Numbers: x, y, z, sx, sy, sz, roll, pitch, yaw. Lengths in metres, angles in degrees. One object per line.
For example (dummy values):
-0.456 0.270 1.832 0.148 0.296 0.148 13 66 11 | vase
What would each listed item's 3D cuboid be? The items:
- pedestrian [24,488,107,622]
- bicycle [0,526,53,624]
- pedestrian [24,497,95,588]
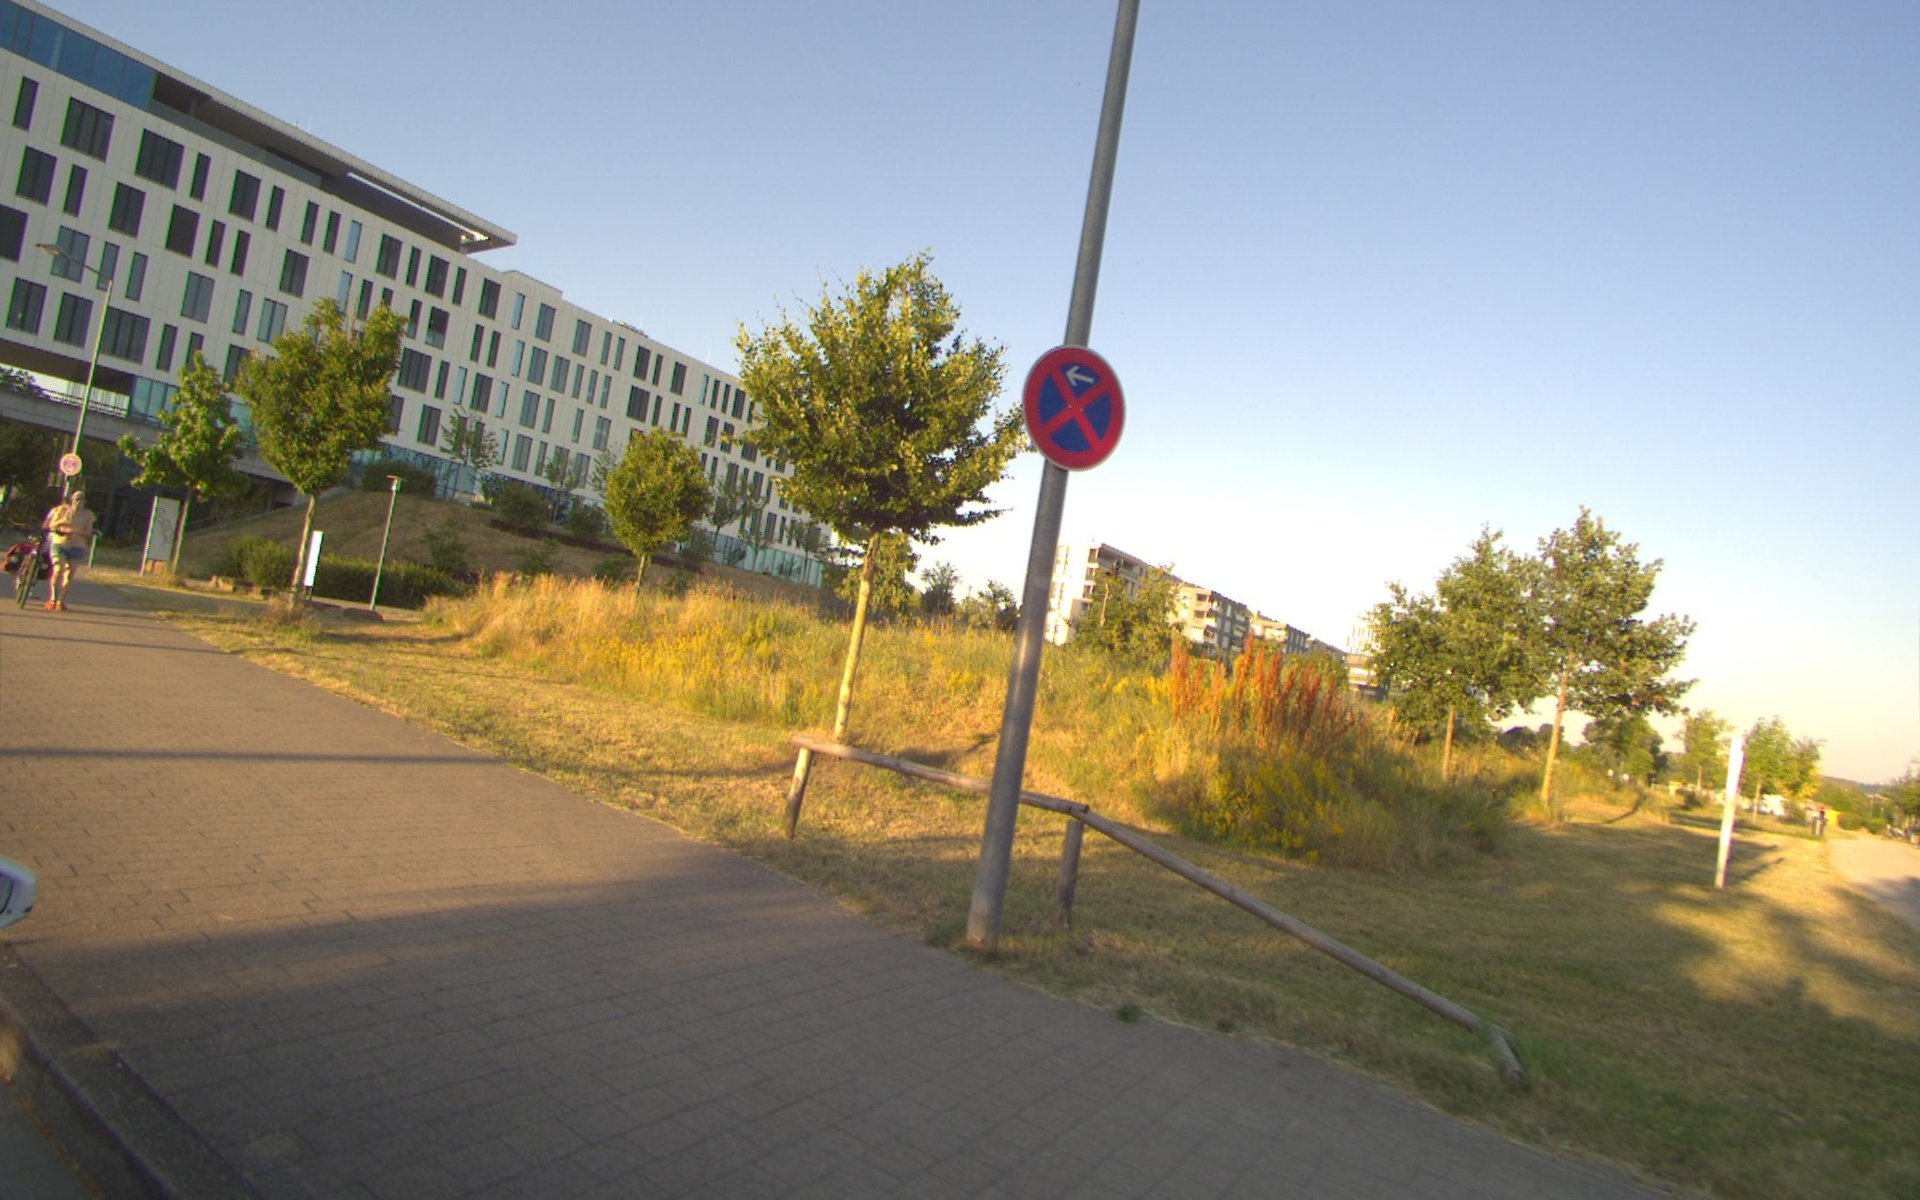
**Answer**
-13.059 -0.665 14.691 0.807 1.821 0.594 8 -3 44 | pedestrian
-13.386 -0.380 14.264 1.914 1.181 0.450 7 -3 43 | bicycle
-19.369 -1.232 21.638 0.807 1.785 0.831 8 -3 43 | pedestrian
